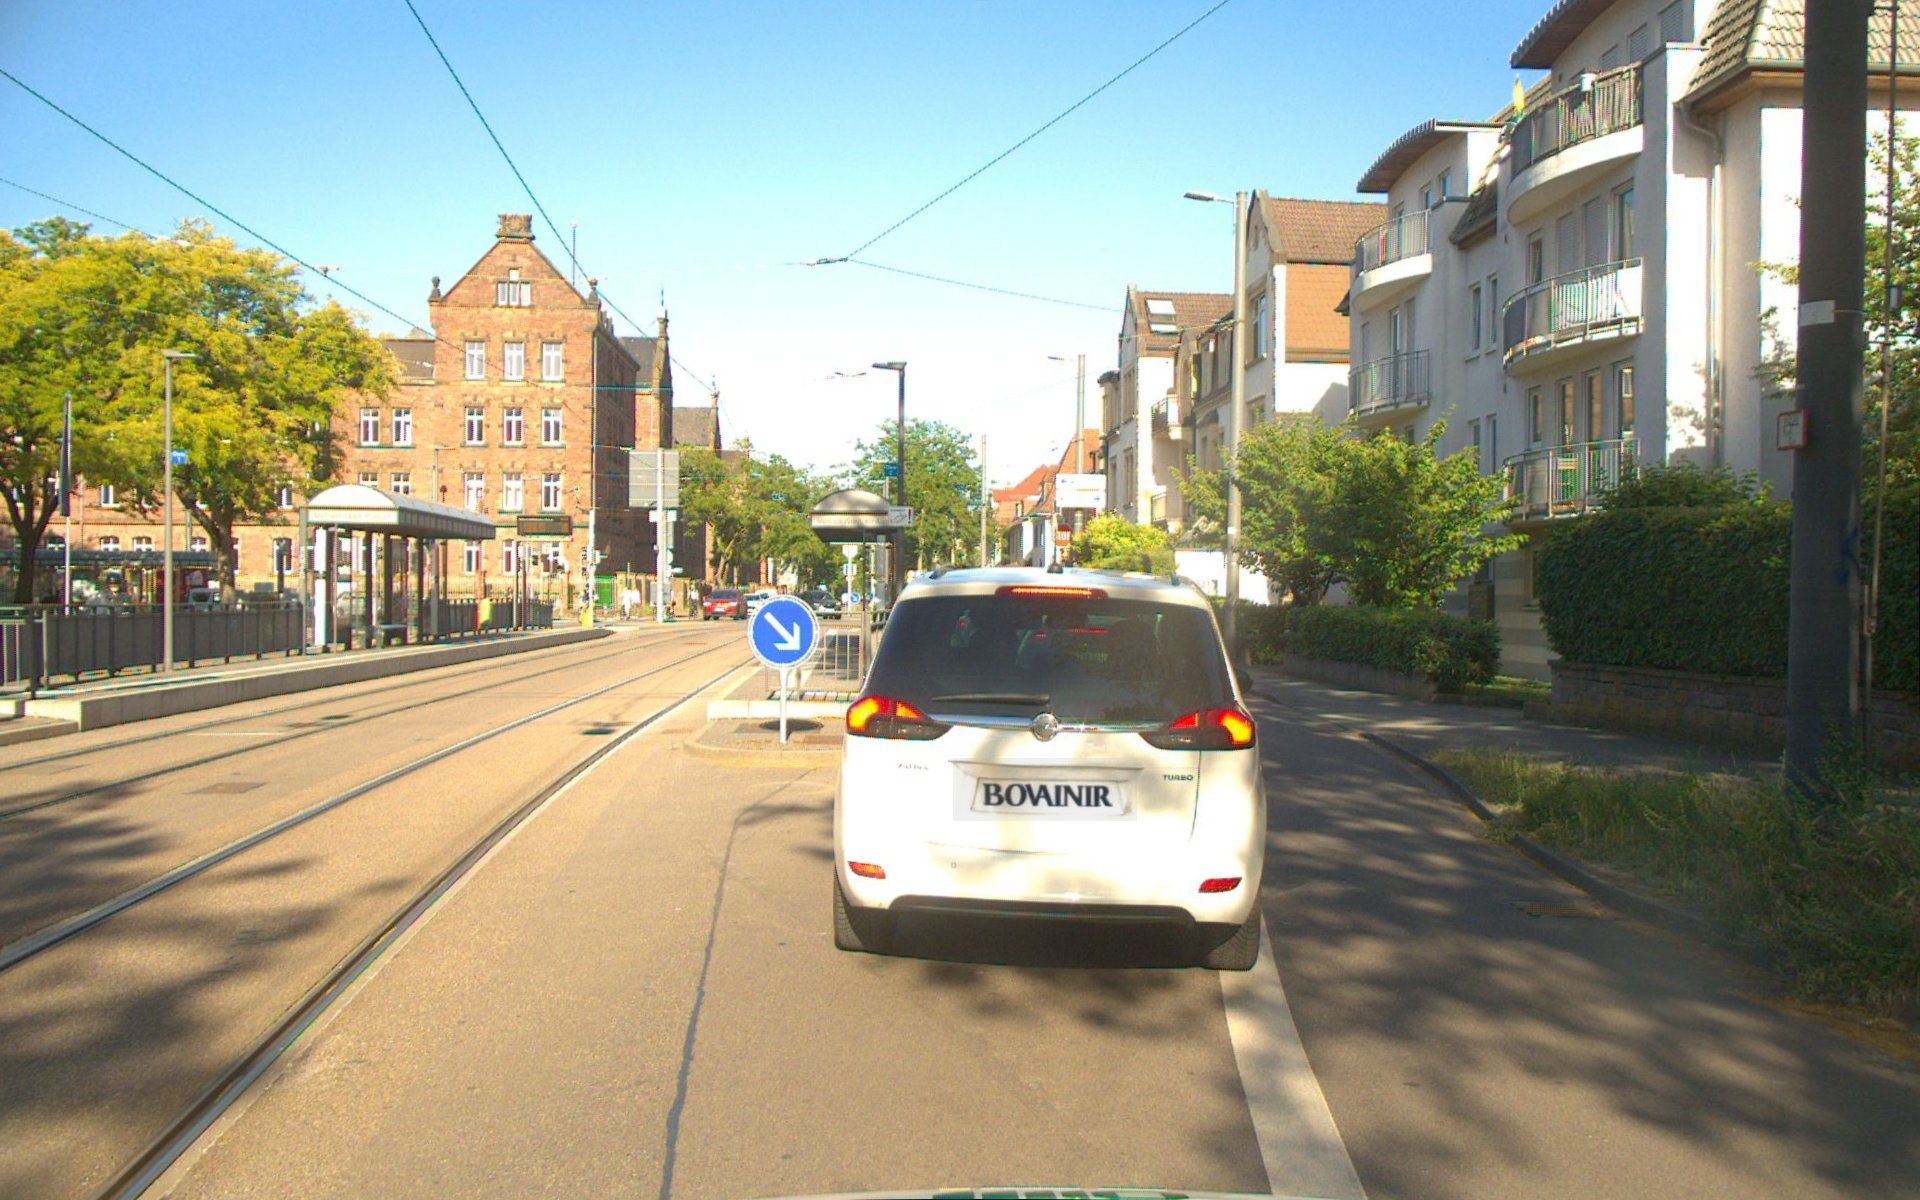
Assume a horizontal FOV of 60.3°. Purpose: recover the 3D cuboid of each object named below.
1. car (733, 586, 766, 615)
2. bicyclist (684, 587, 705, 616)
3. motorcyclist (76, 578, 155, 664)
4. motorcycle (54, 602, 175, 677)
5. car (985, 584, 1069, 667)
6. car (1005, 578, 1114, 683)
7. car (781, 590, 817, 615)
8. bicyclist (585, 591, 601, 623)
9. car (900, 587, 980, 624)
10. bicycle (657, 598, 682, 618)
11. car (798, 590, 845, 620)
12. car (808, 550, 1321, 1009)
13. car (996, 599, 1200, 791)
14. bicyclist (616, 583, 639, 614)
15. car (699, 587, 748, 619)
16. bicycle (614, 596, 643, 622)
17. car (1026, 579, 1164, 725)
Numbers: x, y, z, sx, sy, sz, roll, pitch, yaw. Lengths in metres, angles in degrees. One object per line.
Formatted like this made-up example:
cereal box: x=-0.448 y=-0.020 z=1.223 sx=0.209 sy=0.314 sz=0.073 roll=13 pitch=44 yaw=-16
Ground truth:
car: x=-13.454 y=0.021 z=105.927 sx=1.664 sy=1.841 sz=3.999 roll=0 pitch=0 yaw=-2
bicyclist: x=-14.772 y=0.069 z=92.079 sx=0.744 sy=1.563 sz=1.349 roll=2 pitch=0 yaw=10
motorcyclist: x=-14.052 y=0.338 z=27.544 sx=0.871 sy=1.407 sz=0.907 roll=0 pitch=0 yaw=-5
motorcycle: x=-14.058 y=0.630 z=27.587 sx=0.893 sy=1.173 sz=2.427 roll=0 pitch=0 yaw=-4
car: x=1.430 y=0.515 z=36.289 sx=1.563 sy=1.663 sz=3.900 roll=2 pitch=0 yaw=-1
car: x=1.690 y=0.491 z=29.195 sx=1.563 sy=1.663 sz=3.900 roll=2 pitch=0 yaw=-1
car: x=-10.579 y=0.142 z=108.910 sx=1.953 sy=1.624 sz=4.000 roll=0 pitch=0 yaw=0
bicyclist: x=-17.251 y=0.316 z=77.763 sx=0.640 sy=1.485 sz=1.150 roll=0 pitch=0 yaw=-7
car: x=-1.052 y=0.276 z=86.204 sx=3.907 sy=1.839 sz=1.523 roll=0 pitch=0 yaw=25
bicycle: x=-16.186 y=0.438 z=92.186 sx=0.655 sy=1.091 sz=2.017 roll=1 pitch=1 yaw=12
car: x=-7.725 y=0.268 z=91.984 sx=1.641 sy=1.658 sz=3.977 roll=0 pitch=0 yaw=-20
car: x=0.538 y=0.643 z=8.100 sx=1.838 sy=1.613 sz=4.002 roll=2 pitch=0 yaw=5
car: x=1.230 y=0.738 z=14.800 sx=1.536 sy=1.426 sz=3.786 roll=2 pitch=0 yaw=5
bicyclist: x=-16.854 y=-0.071 z=83.849 sx=0.740 sy=1.497 sz=1.191 roll=0 pitch=-4 yaw=9
car: x=-12.471 y=0.136 z=87.541 sx=1.780 sy=1.635 sz=4.360 roll=0 pitch=0 yaw=2
bicycle: x=-16.822 y=0.471 z=83.980 sx=0.798 sy=1.220 sz=1.954 roll=-1 pitch=-4 yaw=10
car: x=1.718 y=0.590 z=21.059 sx=1.536 sy=1.643 sz=3.786 roll=2 pitch=0 yaw=5
